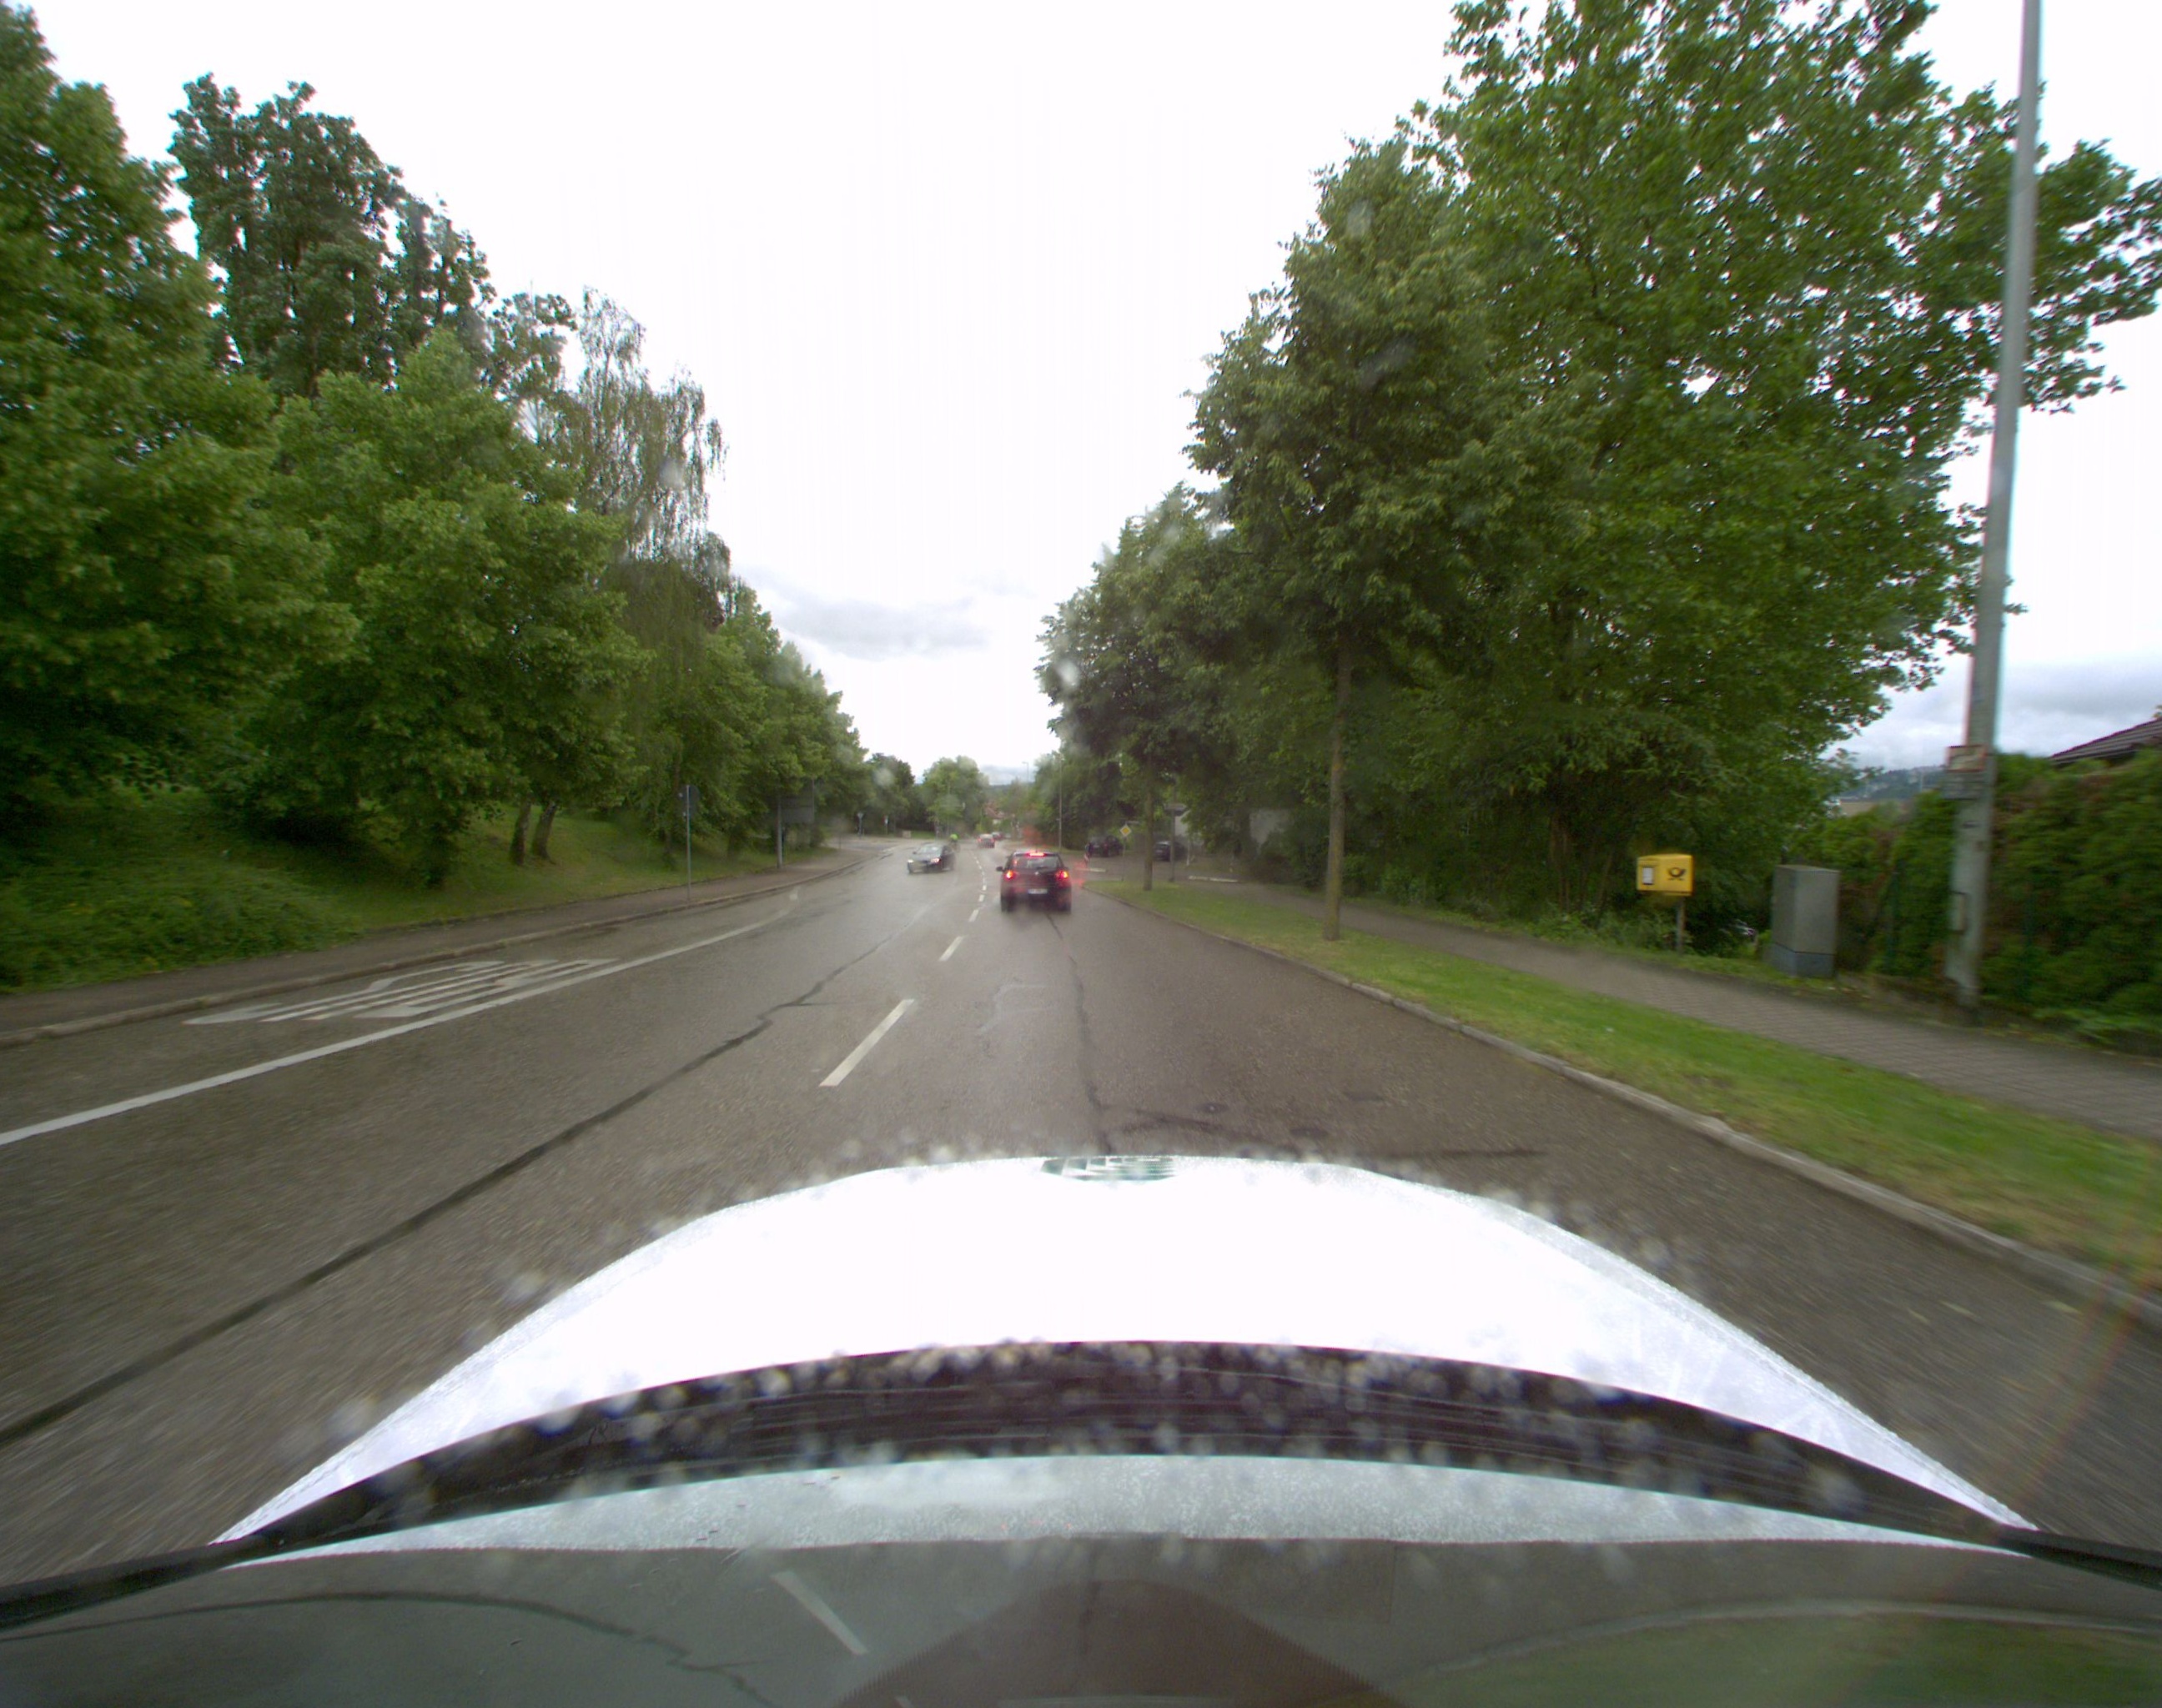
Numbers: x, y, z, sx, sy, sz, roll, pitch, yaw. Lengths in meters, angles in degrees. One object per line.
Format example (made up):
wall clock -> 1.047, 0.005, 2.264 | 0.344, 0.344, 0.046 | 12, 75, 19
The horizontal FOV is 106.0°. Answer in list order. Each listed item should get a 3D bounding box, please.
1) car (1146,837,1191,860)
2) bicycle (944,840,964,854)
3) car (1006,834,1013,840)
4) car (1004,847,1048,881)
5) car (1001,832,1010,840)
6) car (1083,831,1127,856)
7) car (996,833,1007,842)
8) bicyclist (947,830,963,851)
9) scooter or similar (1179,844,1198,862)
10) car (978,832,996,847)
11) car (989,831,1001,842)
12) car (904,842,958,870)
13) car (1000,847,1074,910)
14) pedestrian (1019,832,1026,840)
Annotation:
car -> 6.881, -0.446, 63.354 | 1.735, 1.469, 4.595 | 4, 5, 29
bicycle -> -10.972, -0.594, 70.262 | 0.858, 1.155, 2.015 | 0, 0, -37
car -> -17.992, -4.326, 204.043 | 1.719, 1.464, 3.993 | 4, 1, -5
car -> -2.588, 0.415, 37.595 | 1.753, 1.464, 3.990 | 0, 1, -8
car -> -15.574, -3.738, 168.310 | 1.719, 1.464, 3.993 | 4, 1, -5
car -> 1.988, -0.883, 65.334 | 1.931, 1.688, 4.930 | 3, 5, 20
car -> -13.717, -2.834, 140.533 | 1.719, 1.464, 3.993 | 4, 1, -5
bicyclist -> -10.883, -1.157, 70.162 | 0.858, 1.755, 1.271 | 1, 0, -37
scooter or similar -> 8.067, -0.092, 61.112 | 1.337, 1.285, 0.559 | 0, 1, -14
car -> -10.021, -1.585, 87.383 | 1.719, 1.464, 3.993 | 4, 1, -5
car -> -12.973, -2.641, 122.951 | 1.719, 1.464, 3.993 | 4, 1, -5
car -> -7.915, 0.119, 43.407 | 1.713, 1.383, 4.146 | 1, 0, 6
car -> -1.210, 0.593, 21.412 | 1.719, 1.464, 3.993 | 1, 0, -5
pedestrian -> -10.464, -3.250, 144.955 | 1.069, 1.355, 0.919 | 0, 1, 3
